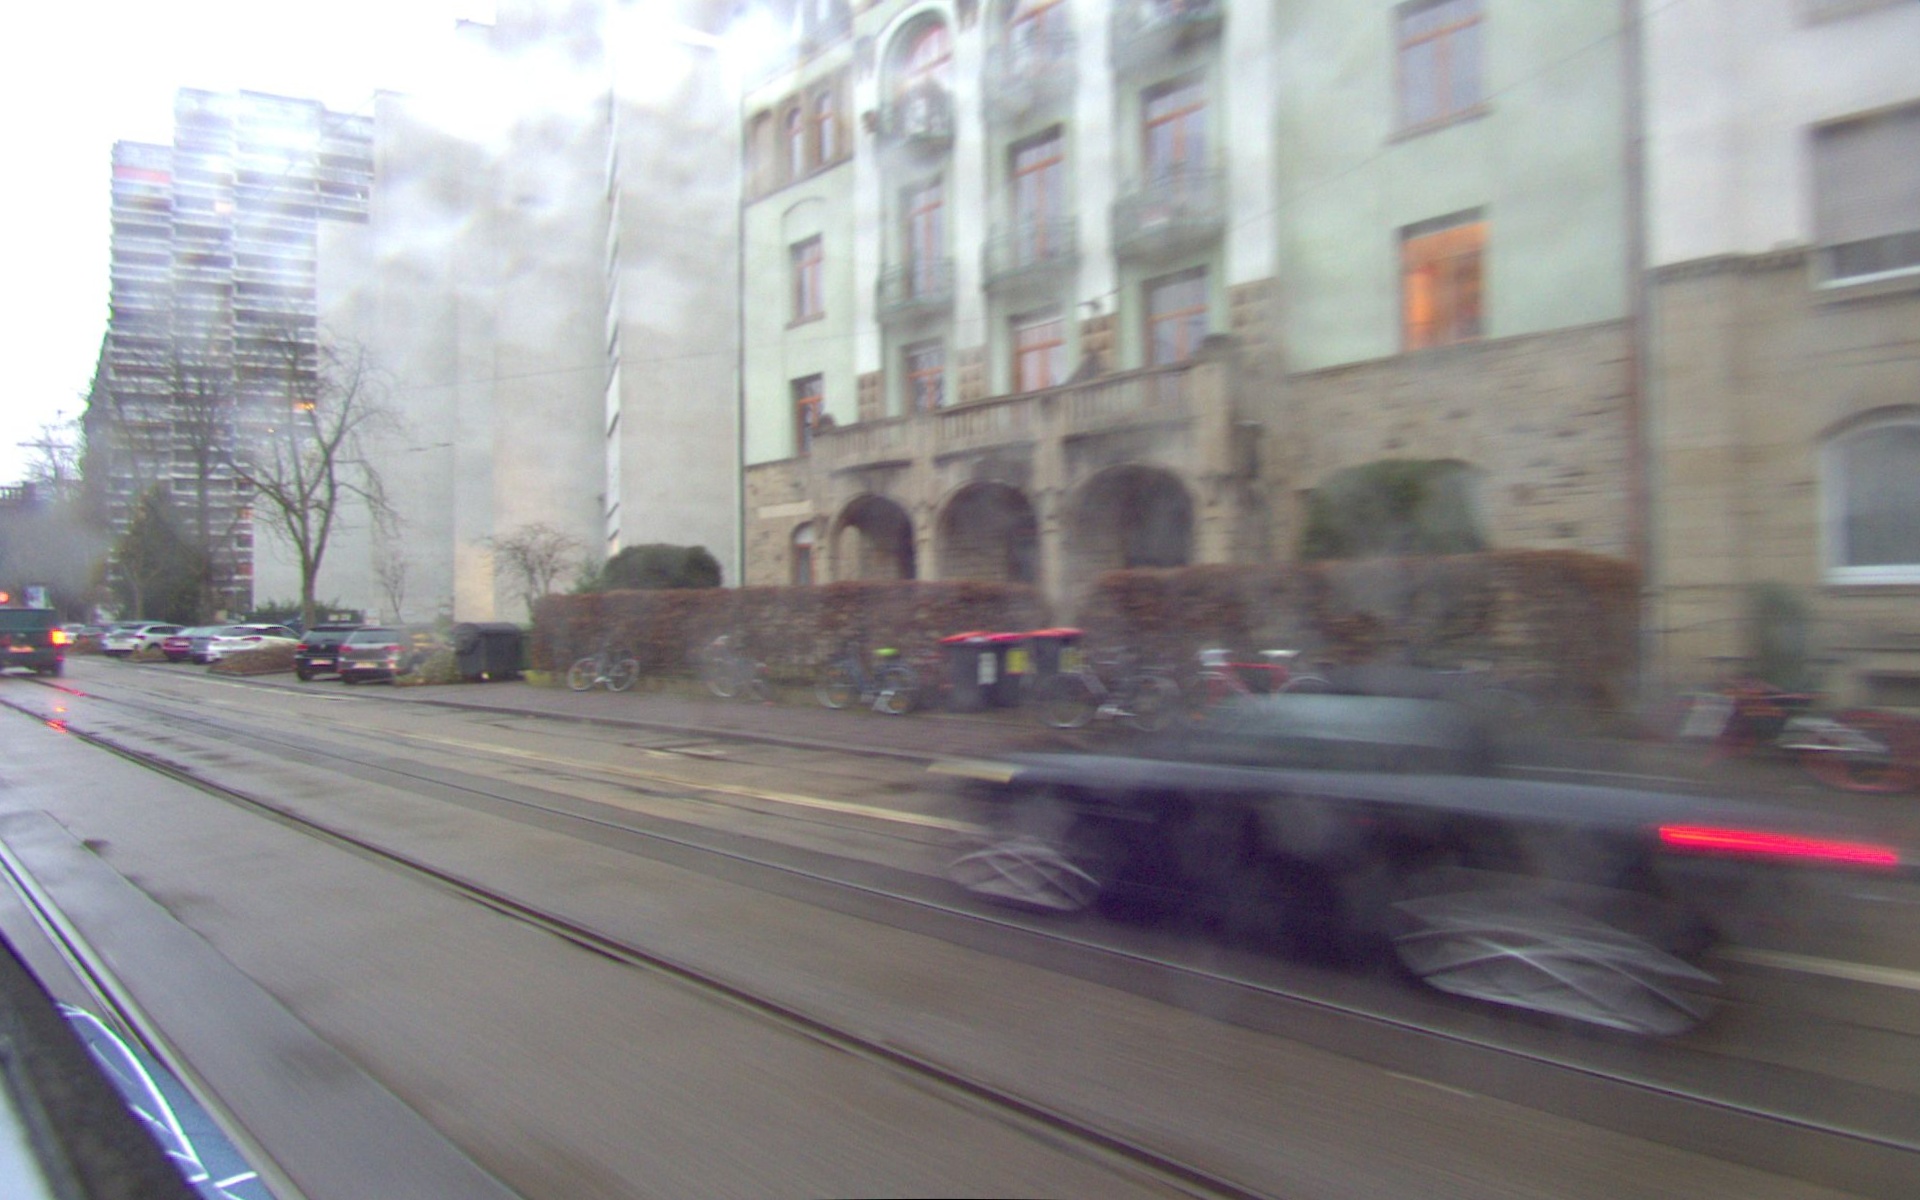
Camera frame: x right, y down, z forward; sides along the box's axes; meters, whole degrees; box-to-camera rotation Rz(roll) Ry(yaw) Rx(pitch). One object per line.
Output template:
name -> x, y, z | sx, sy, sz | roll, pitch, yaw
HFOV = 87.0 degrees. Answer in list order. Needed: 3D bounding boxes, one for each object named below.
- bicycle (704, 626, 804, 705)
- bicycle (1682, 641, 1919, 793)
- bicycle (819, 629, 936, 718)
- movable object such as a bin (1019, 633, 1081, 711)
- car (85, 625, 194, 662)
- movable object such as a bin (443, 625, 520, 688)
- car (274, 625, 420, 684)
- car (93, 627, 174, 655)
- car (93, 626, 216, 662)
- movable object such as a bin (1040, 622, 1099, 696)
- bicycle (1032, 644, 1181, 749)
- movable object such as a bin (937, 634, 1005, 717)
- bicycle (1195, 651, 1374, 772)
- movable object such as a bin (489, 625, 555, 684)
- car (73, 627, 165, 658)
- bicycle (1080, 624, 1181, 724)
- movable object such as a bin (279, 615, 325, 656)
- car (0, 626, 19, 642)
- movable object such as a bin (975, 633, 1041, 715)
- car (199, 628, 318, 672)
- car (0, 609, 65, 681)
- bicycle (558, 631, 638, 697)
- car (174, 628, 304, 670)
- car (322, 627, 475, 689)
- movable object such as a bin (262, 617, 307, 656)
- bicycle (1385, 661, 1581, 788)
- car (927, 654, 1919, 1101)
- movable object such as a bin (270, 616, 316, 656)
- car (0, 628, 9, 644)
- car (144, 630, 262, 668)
bicycle -> -3.330, 1.036, 16.304 | 1.591, 1.222, 0.624 | -2, -3, 32
bicycle -> 6.505, 0.848, 7.698 | 1.591, 1.039, 0.687 | 0, -2, 32
bicycle -> -1.207, 1.041, 14.668 | 1.591, 1.222, 0.687 | -2, -3, 32
movable object such as a bin -> 1.370, 1.079, 15.360 | 0.739, 1.146, 0.689 | -2, -2, 27
car -> -36.770, 1.929, 45.497 | 1.712, 1.575, 4.000 | -1, -2, -1
movable object such as a bin -> -11.444, 1.330, 24.234 | 1.103, 1.461, 1.259 | -1, -2, 19
car -> -16.636, 1.436, 27.696 | 1.804, 1.482, 4.004 | 0, -2, -4
car -> -45.840, 2.256, 56.192 | 1.705, 1.504, 3.451 | -1, -2, -1
car -> -34.285, 1.862, 43.212 | 1.716, 1.455, 3.990 | 0, -2, 8
movable object such as a bin -> 1.738, 0.924, 16.032 | 0.739, 1.146, 0.689 | -2, -2, 27
bicycle -> 1.700, 1.098, 11.915 | 0.684, 1.038, 1.596 | 3, 0, -45
movable object such as a bin -> 0.156, 1.055, 14.379 | 0.739, 1.146, 0.689 | -2, -2, 27
bicycle -> 3.339, 1.110, 10.459 | 1.594, 1.038, 0.686 | 3, 0, 36
movable object such as a bin -> -11.062, 1.368, 25.598 | 1.103, 1.461, 1.085 | -1, -2, 20
car -> -43.658, 2.197, 52.649 | 1.671, 1.504, 3.856 | 0, -2, -3
bicycle -> 2.351, 0.986, 13.845 | 0.490, 1.273, 1.571 | 4, 1, 44
movable object such as a bin -> -31.225, 1.679, 48.032 | 1.317, 1.874, 1.553 | -4, -4, 42
car -> -88.691, 3.137, 92.496 | 3.939, 1.497, 1.673 | 1, -3, -43
movable object such as a bin -> 0.700, 1.063, 14.738 | 0.739, 1.146, 0.689 | -2, -2, 27
car -> -24.231, 1.706, 35.127 | 1.710, 1.434, 3.856 | 0, -2, -5
car -> -27.706, 1.305, 29.208 | 5.095, 1.937, 2.025 | -2, -3, 40
bicycle -> -6.930, 1.209, 19.355 | 1.593, 1.222, 0.686 | -2, -3, 36
car -> -26.827, 1.810, 37.819 | 1.715, 1.474, 3.992 | 1, -2, 6
car -> -14.268, 1.452, 26.010 | 1.821, 1.439, 4.001 | -1, -2, -2
movable object such as a bin -> -33.332, 1.808, 49.931 | 1.317, 1.874, 1.553 | -4, -4, 42
bicycle -> 4.940, 1.133, 9.586 | 1.591, 1.039, 0.687 | 0, -1, 32
car -> 1.837, 0.876, 4.641 | 3.871, 1.207, 1.643 | -2, -3, 40
movable object such as a bin -> -32.289, 1.764, 49.000 | 1.393, 1.874, 1.553 | -4, -4, 42
car -> -87.287, 3.217, 90.014 | 3.939, 1.497, 1.673 | 1, -3, -43
car -> -29.270, 1.887, 39.311 | 1.722, 1.362, 4.354 | 1, -2, -7
